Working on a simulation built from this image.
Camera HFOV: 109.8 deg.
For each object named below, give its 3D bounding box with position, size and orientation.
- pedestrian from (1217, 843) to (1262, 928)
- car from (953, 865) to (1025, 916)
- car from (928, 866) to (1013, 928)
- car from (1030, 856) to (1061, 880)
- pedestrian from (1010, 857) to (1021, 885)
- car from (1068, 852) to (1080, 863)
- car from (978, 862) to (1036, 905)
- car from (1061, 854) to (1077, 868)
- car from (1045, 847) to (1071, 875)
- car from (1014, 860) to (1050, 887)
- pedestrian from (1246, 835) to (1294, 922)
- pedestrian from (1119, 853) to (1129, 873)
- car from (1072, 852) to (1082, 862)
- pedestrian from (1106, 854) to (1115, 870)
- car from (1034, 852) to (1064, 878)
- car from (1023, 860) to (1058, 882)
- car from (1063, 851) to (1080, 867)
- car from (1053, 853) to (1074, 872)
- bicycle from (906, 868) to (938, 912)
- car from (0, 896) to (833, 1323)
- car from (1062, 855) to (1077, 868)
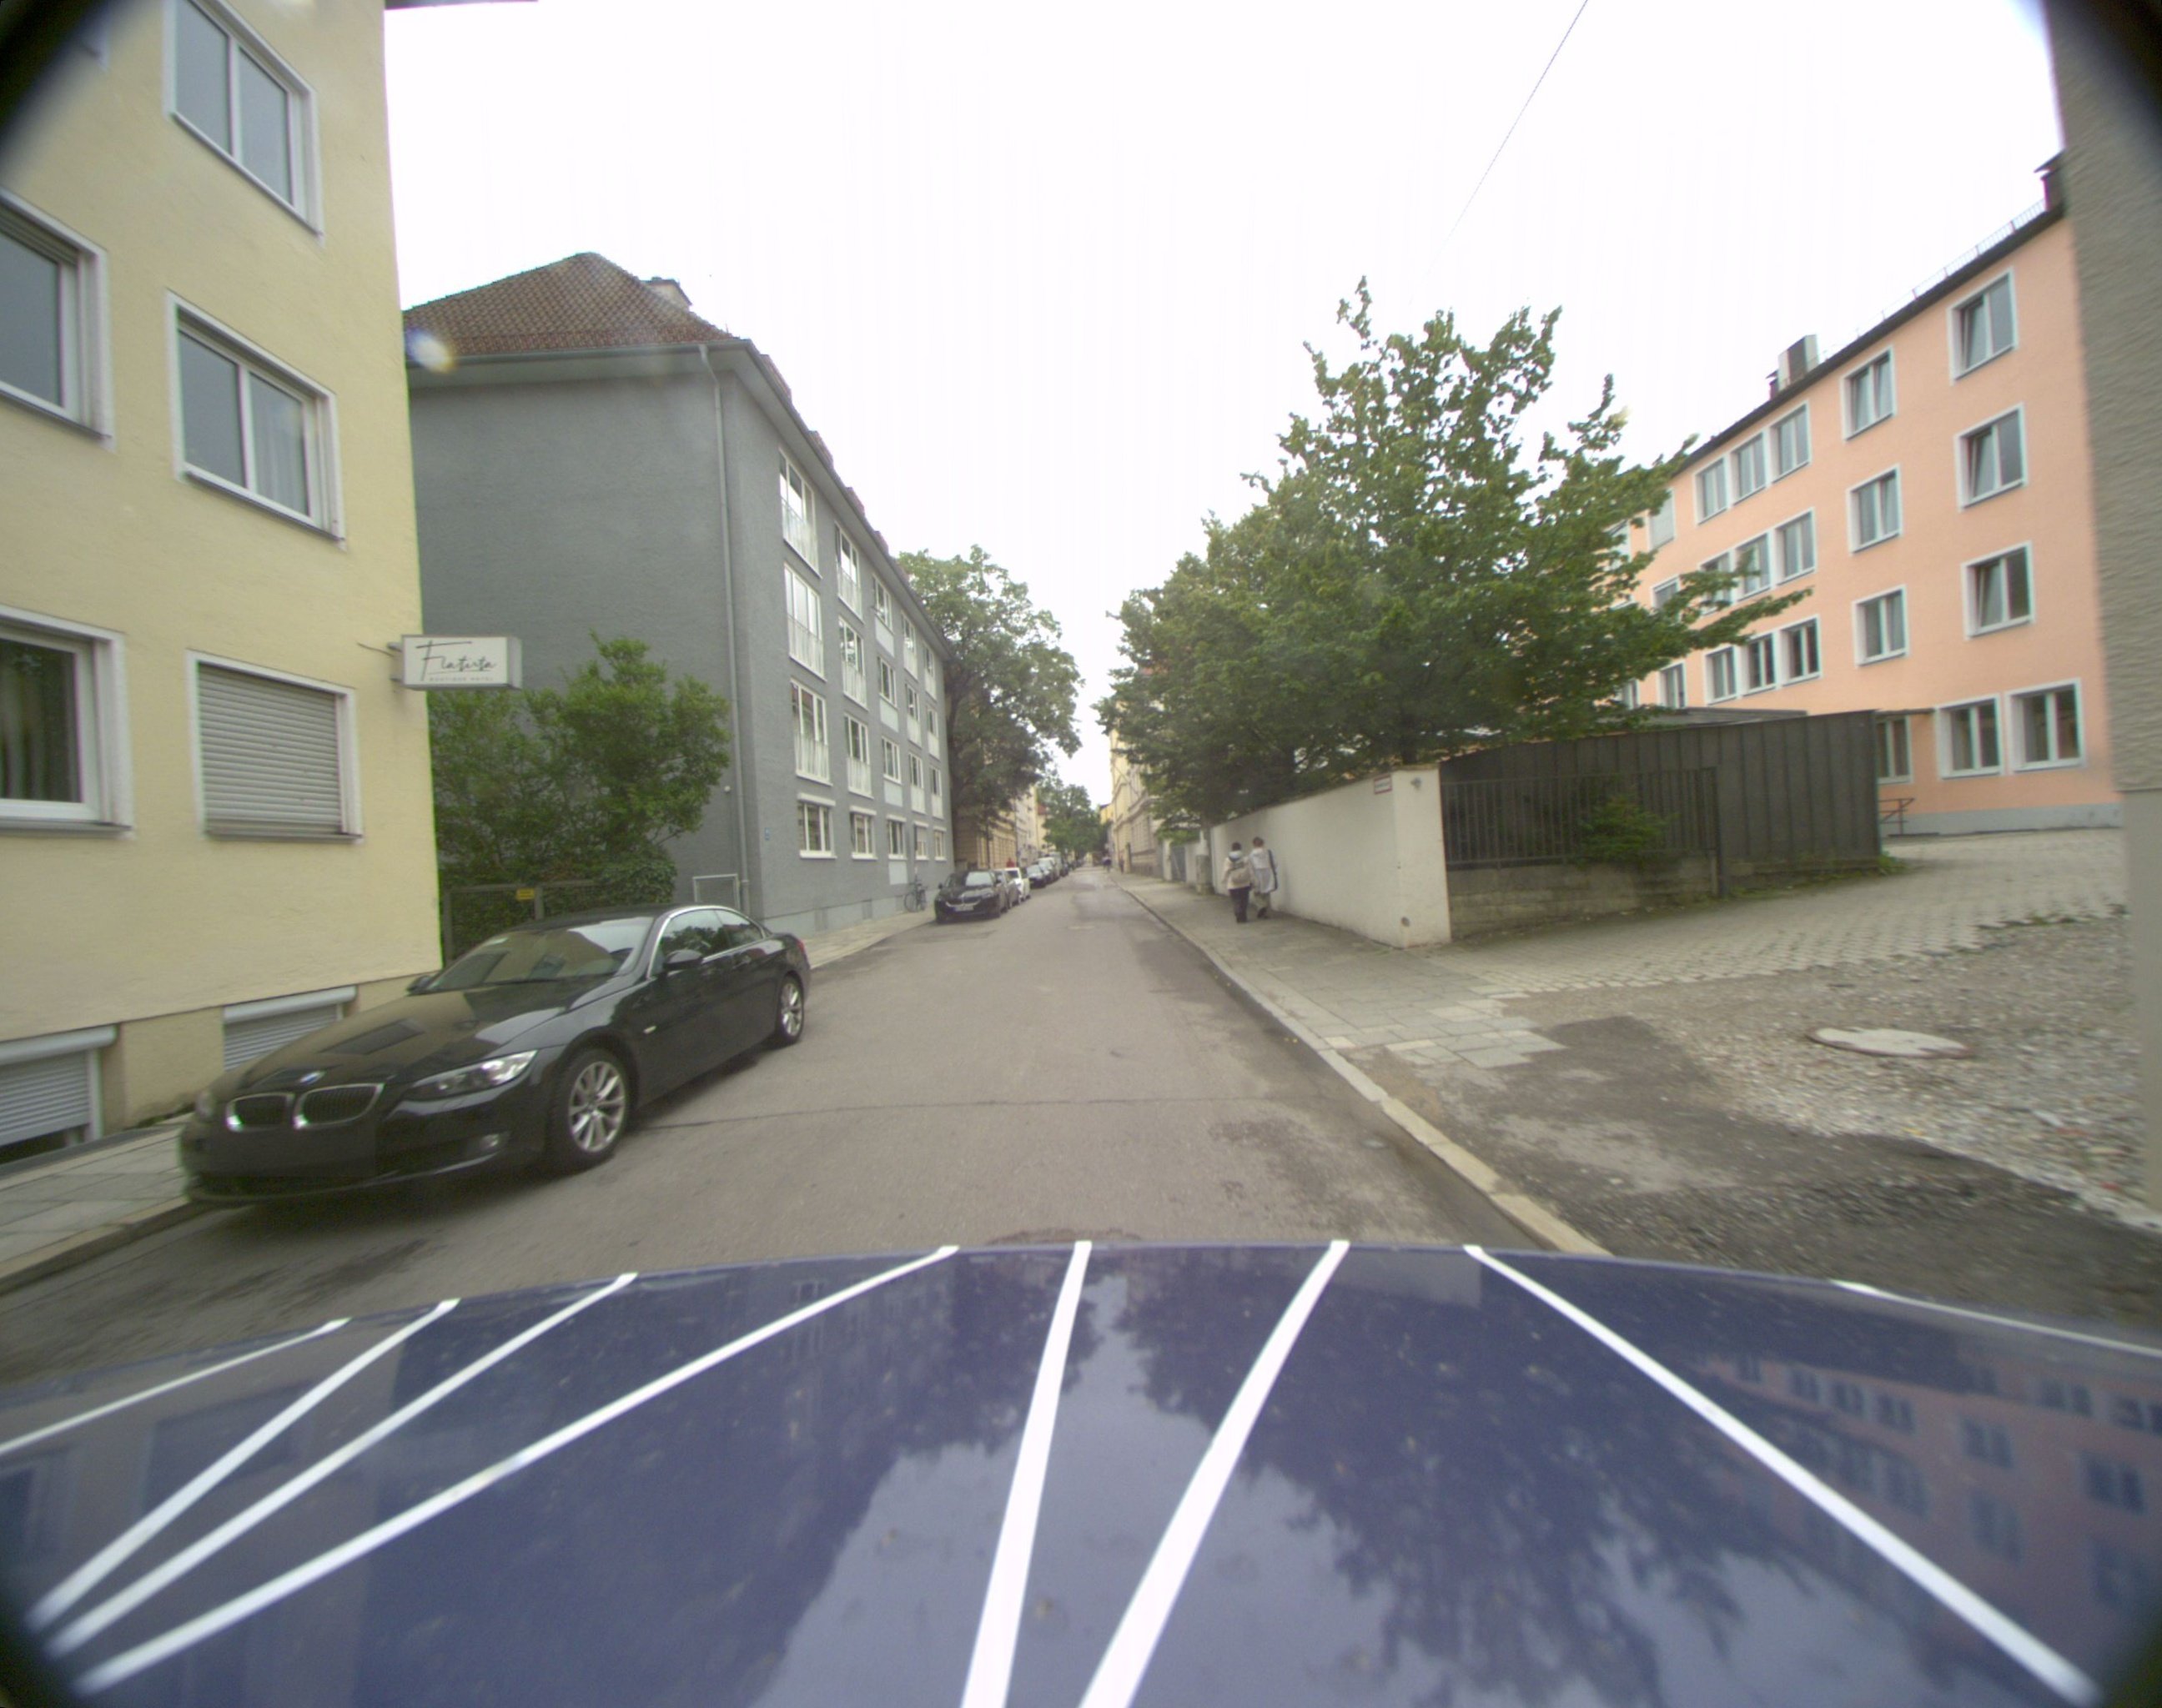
[{"bbox_3d":[3.073,0.600,14.789,0.624,1.570,0.714,-5,1,1],"label":"pedestrian"},{"bbox_3d":[-3.243,1.256,27.636,1.794,1.393,4.485,-7,0,2],"label":"car"},{"bbox_3d":[-3.195,1.201,22.806,1.846,1.420,4.263,-7,0,-1],"label":"car"},{"bbox_3d":[-2.656,1.021,57.866,1.998,1.677,4.510,-3,0,1],"label":"car"},{"bbox_3d":[-4.652,1.185,53.916,0.581,1.966,0.455,-4,1,0],"label":"pedestrian"},{"bbox_3d":[-1.381,0.727,154.232,2.014,1.969,5.090,-7,0,2],"label":"car"},{"bbox_3d":[-3.089,1.213,32.696,1.773,1.437,4.345,-7,0,2],"label":"car"},{"bbox_3d":[-1.743,1.014,113.557,2.014,1.914,5.090,-7,0,2],"label":"car"},{"bbox_3d":[-2.333,0.706,76.990,2.014,2.479,5.090,-7,0,2],"label":"car"},{"bbox_3d":[-3.005,1.176,47.336,1.860,1.366,4.509,-6,0,-1],"label":"car"},{"bbox_3d":[3.692,0.471,14.881,0.615,1.611,0.687,-6,1,1],"label":"pedestrian"},{"bbox_3d":[3.850,0.773,68.238,0.766,1.742,0.970,-3,0,0],"label":"pedestrian"},{"bbox_3d":[-0.923,0.744,174.509,2.014,1.969,5.090,-7,0,2],"label":"car"},{"bbox_3d":[3.280,0.907,85.142,0.920,1.742,1.066,-3,0,0],"label":"pedestrian"},{"bbox_3d":[-2.644,0.879,63.887,1.998,2.002,5.064,-3,0,3],"label":"car"},{"bbox_3d":[-2.766,1.144,52.552,1.998,1.306,4.593,-3,0,1],"label":"car"},{"bbox_3d":[-1.423,0.817,120.021,2.242,2.246,5.090,-7,0,2],"label":"car"},{"bbox_3d":[-2.029,0.980,90.409,2.014,1.989,5.090,-7,0,2],"label":"car"},{"bbox_3d":[-5.794,1.300,27.808,0.515,1.478,2.279,-4,0,1],"label":"bicycle"},{"bbox_3d":[-3.513,1.190,5.418,1.830,1.327,4.508,-7,0,0],"label":"car"},{"bbox_3d":[-1.918,1.218,127.992,2.014,1.969,5.090,-7,0,2],"label":"car"}]
